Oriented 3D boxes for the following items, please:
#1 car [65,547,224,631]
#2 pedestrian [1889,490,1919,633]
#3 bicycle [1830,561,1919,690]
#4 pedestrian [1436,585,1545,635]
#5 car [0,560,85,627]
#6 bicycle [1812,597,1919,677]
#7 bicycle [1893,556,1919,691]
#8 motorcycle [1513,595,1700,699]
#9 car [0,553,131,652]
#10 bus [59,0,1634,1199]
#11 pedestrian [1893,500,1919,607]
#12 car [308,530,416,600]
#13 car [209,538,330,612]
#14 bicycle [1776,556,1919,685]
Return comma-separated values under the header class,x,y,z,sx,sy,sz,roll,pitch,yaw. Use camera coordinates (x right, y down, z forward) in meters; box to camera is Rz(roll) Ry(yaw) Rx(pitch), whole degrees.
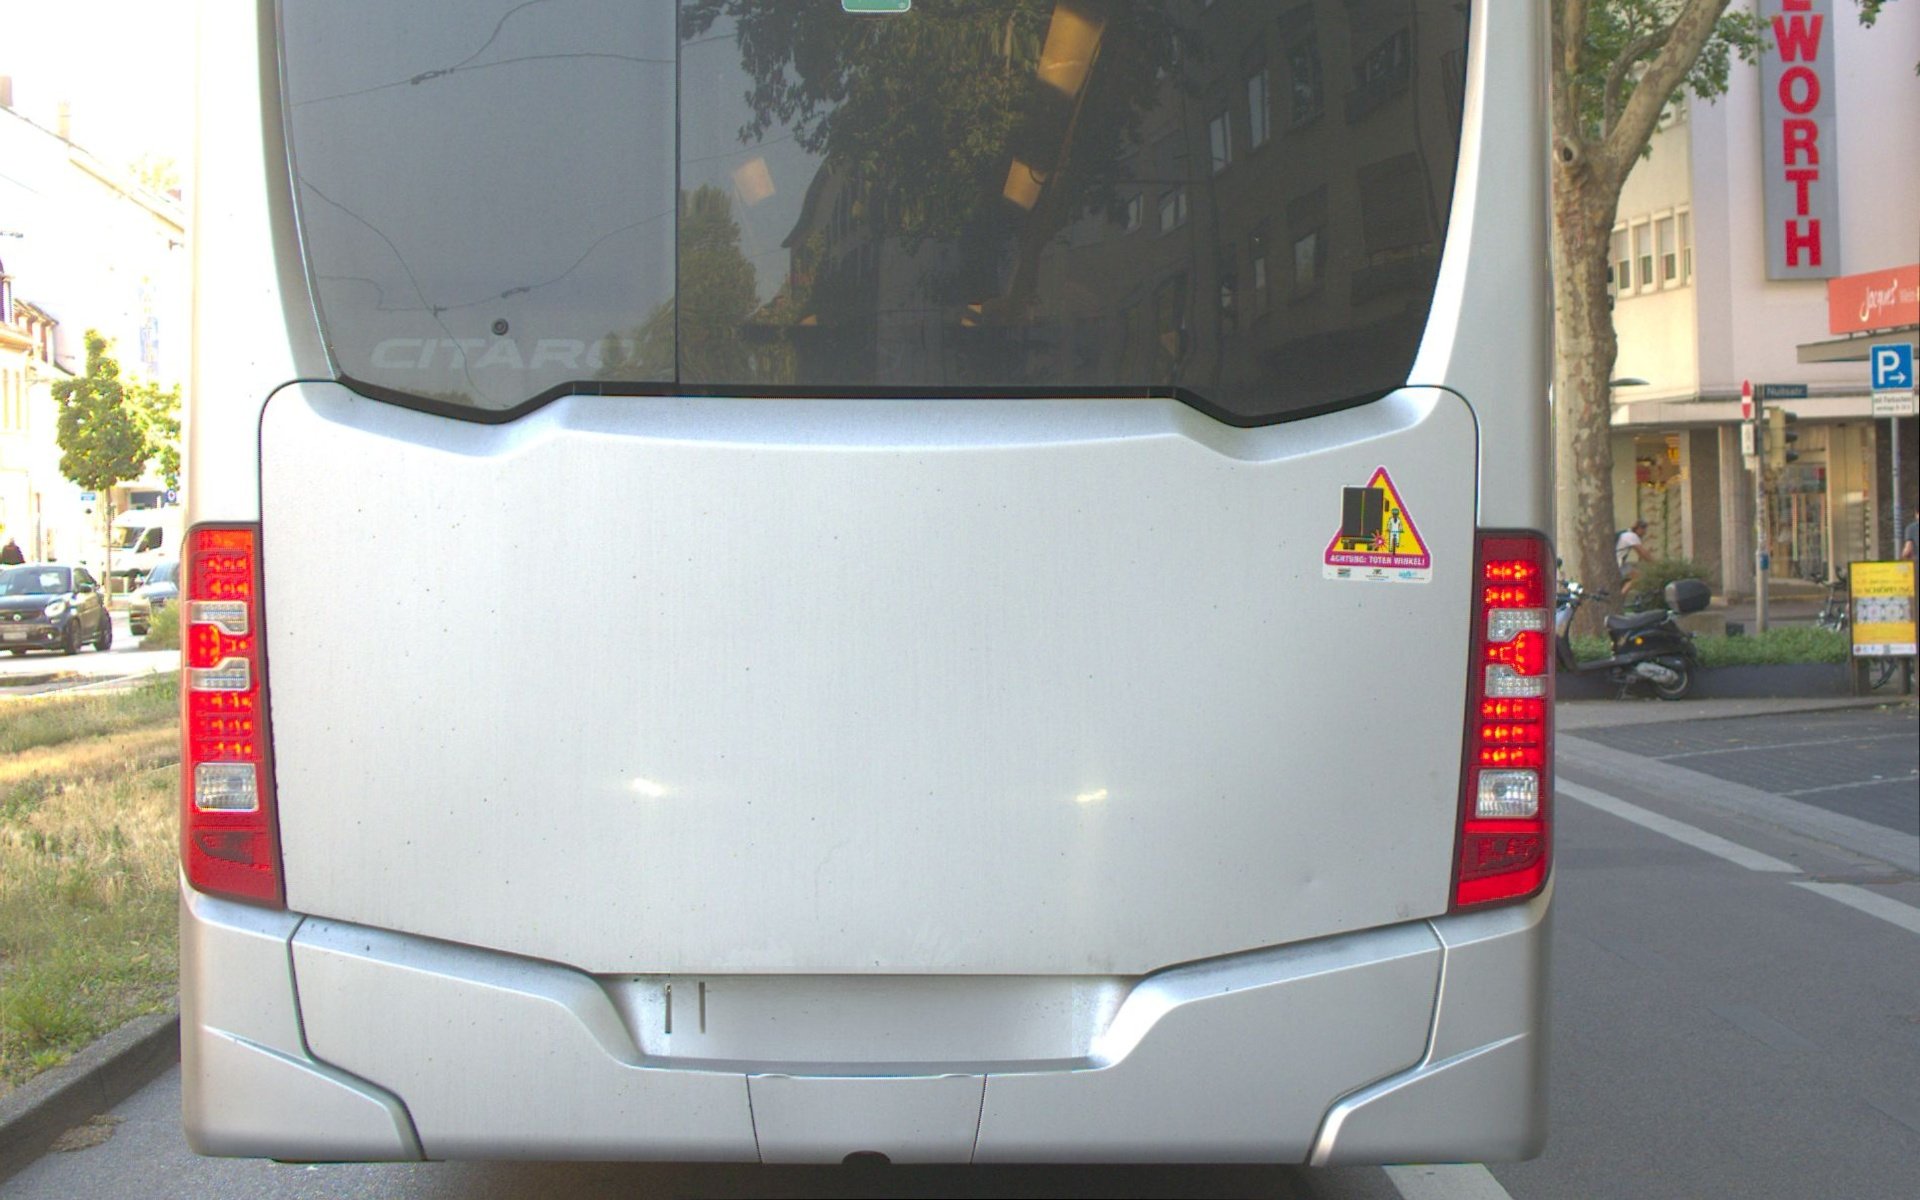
class,x,y,z,sx,sy,sz,roll,pitch,yaw
car,-16.198,-0.243,68.533,1.993,1.554,4.775,-1,1,0
pedestrian,12.256,-0.492,43.460,0.780,1.787,0.764,-1,1,0
bicycle,9.546,0.209,33.666,1.785,1.185,0.672,-4,1,-8
pedestrian,6.529,0.123,42.357,1.254,0.587,0.482,-1,1,-2
car,-21.857,-0.105,75.804,4.538,1.407,2.000,-2,1,-36
bicycle,9.796,0.373,35.464,1.877,0.762,0.711,-1,2,8
bicycle,9.866,0.174,32.076,2.081,1.228,0.831,-2,1,5
motorcycle,5.926,0.424,31.547,1.570,0.889,0.544,-2,1,-3
car,-15.157,0.034,57.253,1.722,1.504,3.476,-4,1,1
bus,-0.155,-0.181,9.422,2.678,3.073,7.114,0,1,1
pedestrian,15.521,-0.755,55.270,0.747,1.673,0.835,-2,3,-6
car,-15.133,-0.904,87.199,1.780,1.609,4.508,-3,1,2
car,-15.875,-0.595,79.249,1.780,1.445,4.044,-3,2,2
bicycle,9.269,0.187,34.677,1.877,1.185,0.711,-4,0,8
